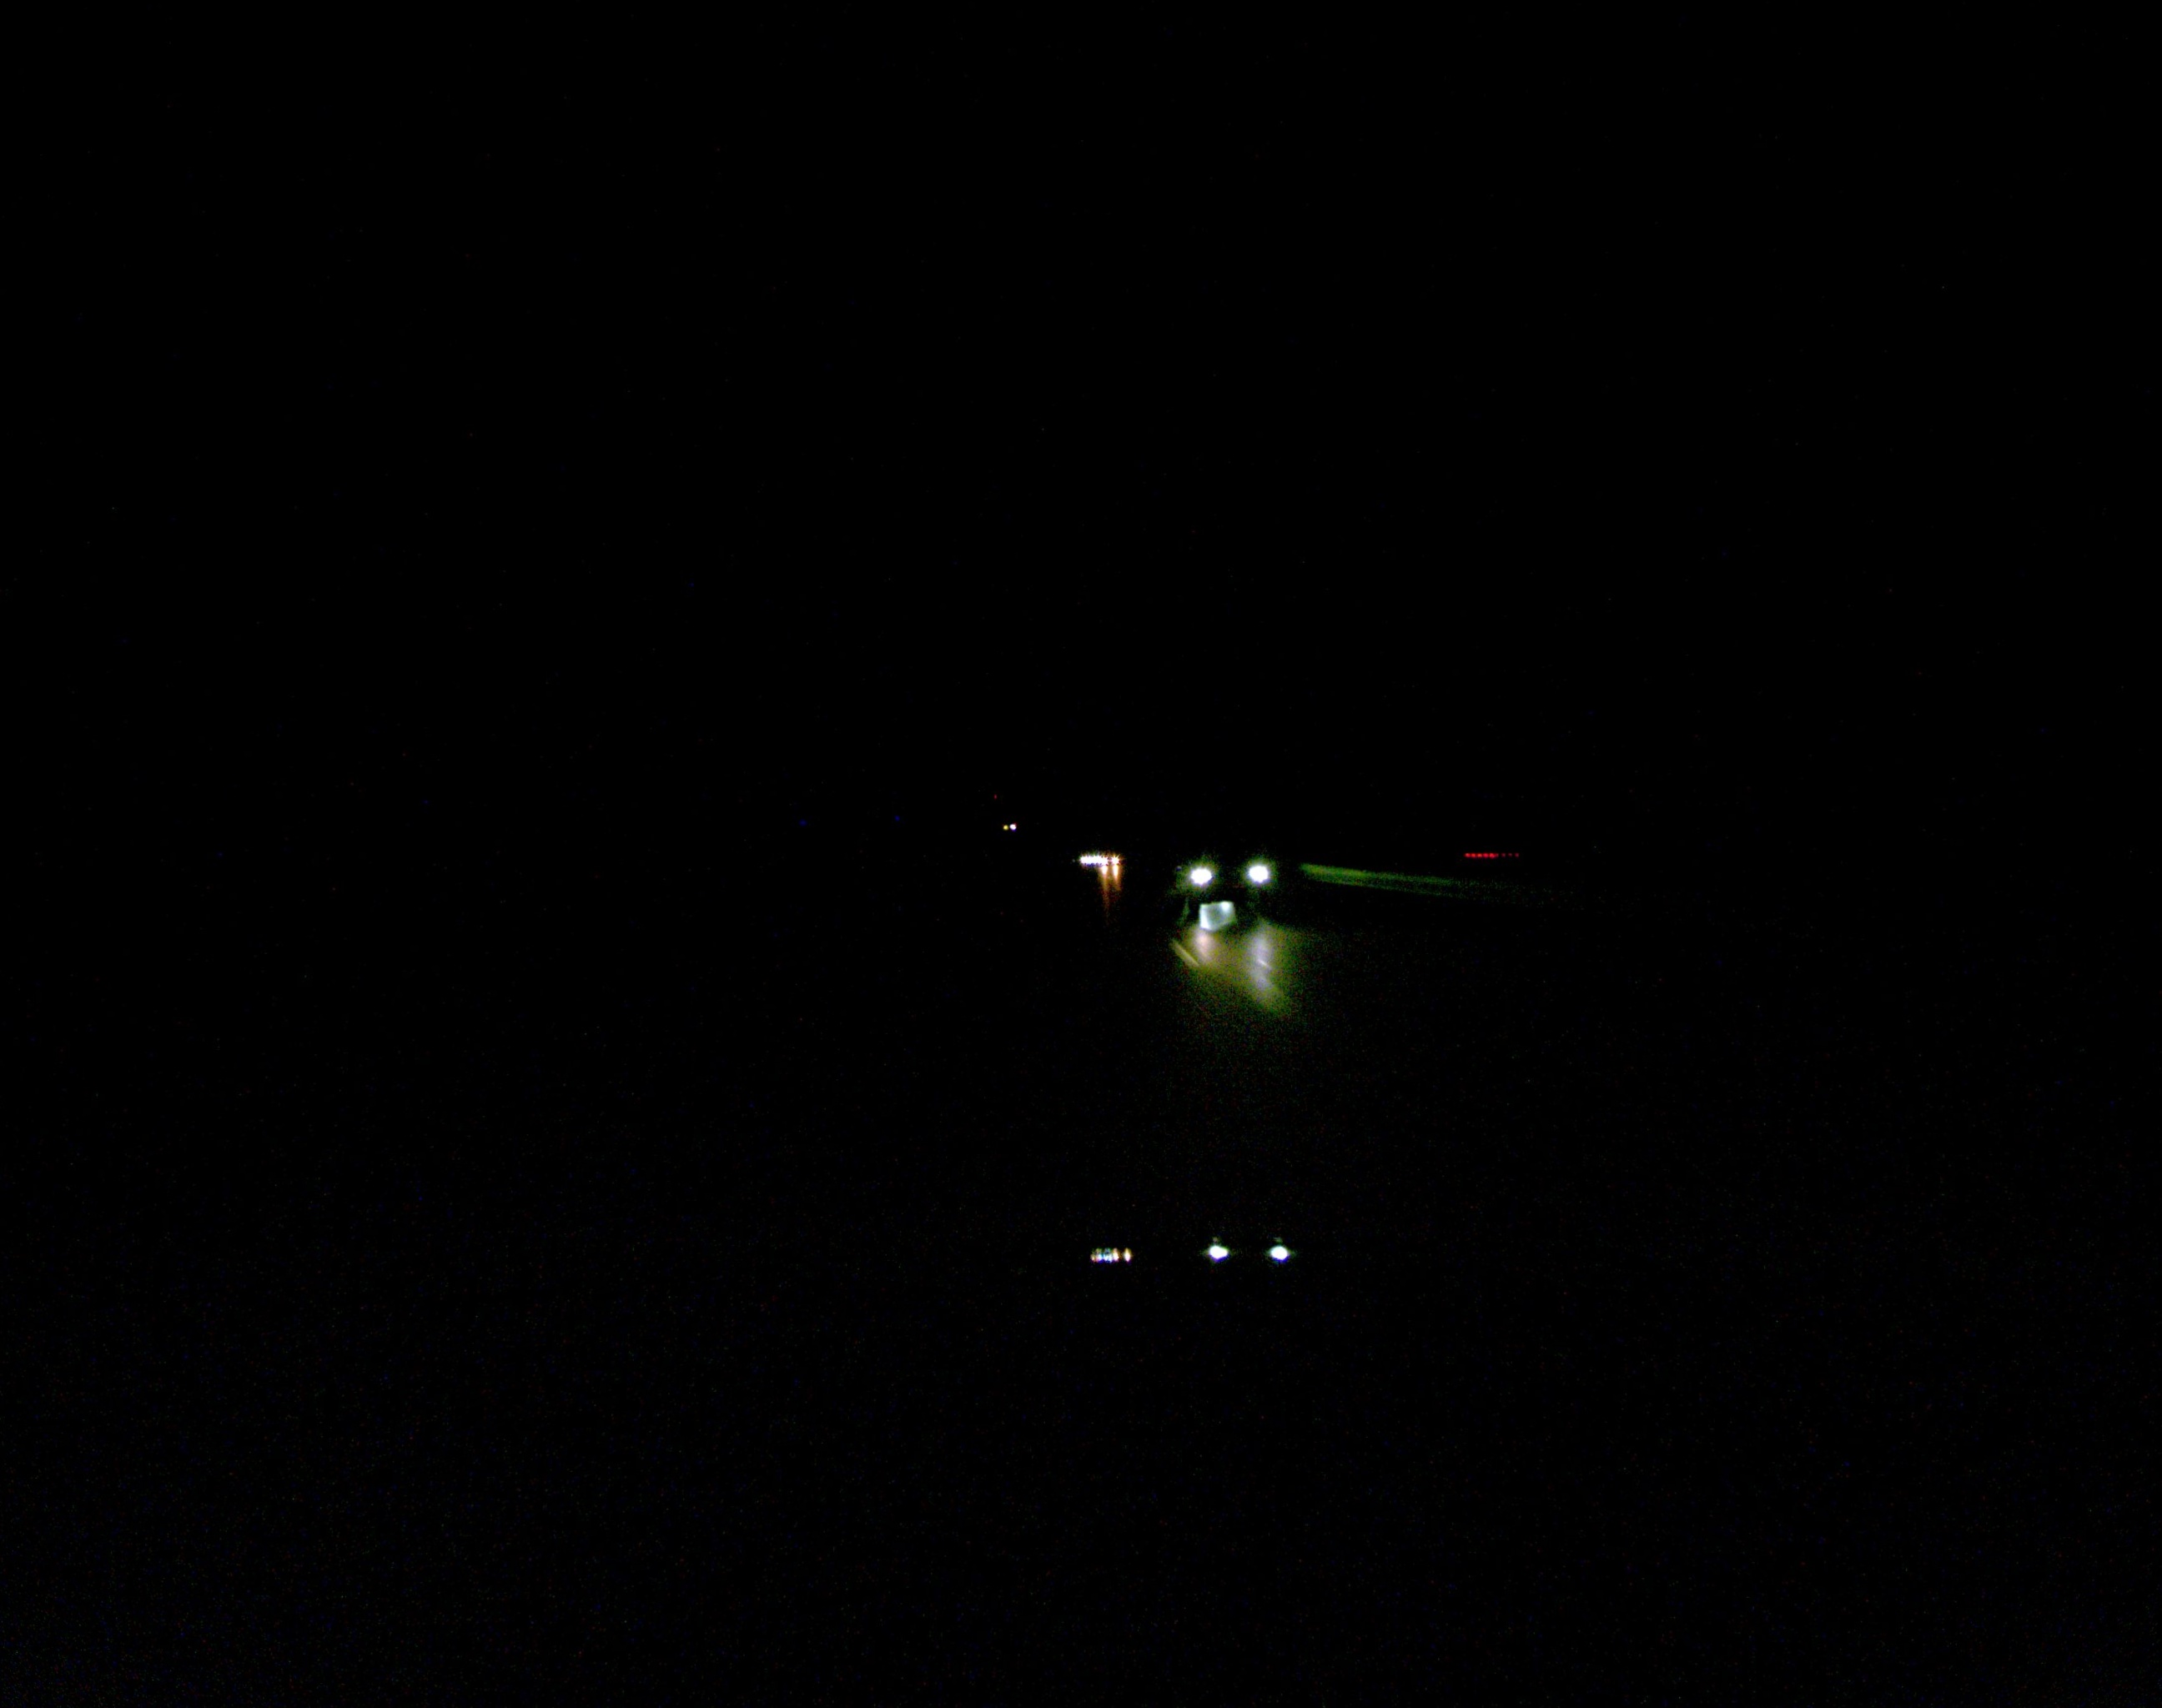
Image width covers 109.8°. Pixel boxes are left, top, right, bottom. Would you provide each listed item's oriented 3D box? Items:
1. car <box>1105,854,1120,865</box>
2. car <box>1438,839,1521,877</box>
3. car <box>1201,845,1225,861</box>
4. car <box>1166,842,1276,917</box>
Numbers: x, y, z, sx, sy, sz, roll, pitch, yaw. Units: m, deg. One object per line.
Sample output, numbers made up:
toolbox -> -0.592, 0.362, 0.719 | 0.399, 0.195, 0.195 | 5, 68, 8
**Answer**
car -> 4.308, 0.768, 105.449 | 1.998, 1.423, 4.329 | -3, 1, 2
car -> 22.463, 0.198, 43.076 | 2.202, 1.944, 4.763 | -3, 0, 1
car -> 17.081, -0.149, 98.435 | 2.202, 1.944, 4.763 | -3, 0, 1
car -> 3.699, 0.599, 21.273 | 1.998, 1.711, 5.942 | -3, 0, 1
